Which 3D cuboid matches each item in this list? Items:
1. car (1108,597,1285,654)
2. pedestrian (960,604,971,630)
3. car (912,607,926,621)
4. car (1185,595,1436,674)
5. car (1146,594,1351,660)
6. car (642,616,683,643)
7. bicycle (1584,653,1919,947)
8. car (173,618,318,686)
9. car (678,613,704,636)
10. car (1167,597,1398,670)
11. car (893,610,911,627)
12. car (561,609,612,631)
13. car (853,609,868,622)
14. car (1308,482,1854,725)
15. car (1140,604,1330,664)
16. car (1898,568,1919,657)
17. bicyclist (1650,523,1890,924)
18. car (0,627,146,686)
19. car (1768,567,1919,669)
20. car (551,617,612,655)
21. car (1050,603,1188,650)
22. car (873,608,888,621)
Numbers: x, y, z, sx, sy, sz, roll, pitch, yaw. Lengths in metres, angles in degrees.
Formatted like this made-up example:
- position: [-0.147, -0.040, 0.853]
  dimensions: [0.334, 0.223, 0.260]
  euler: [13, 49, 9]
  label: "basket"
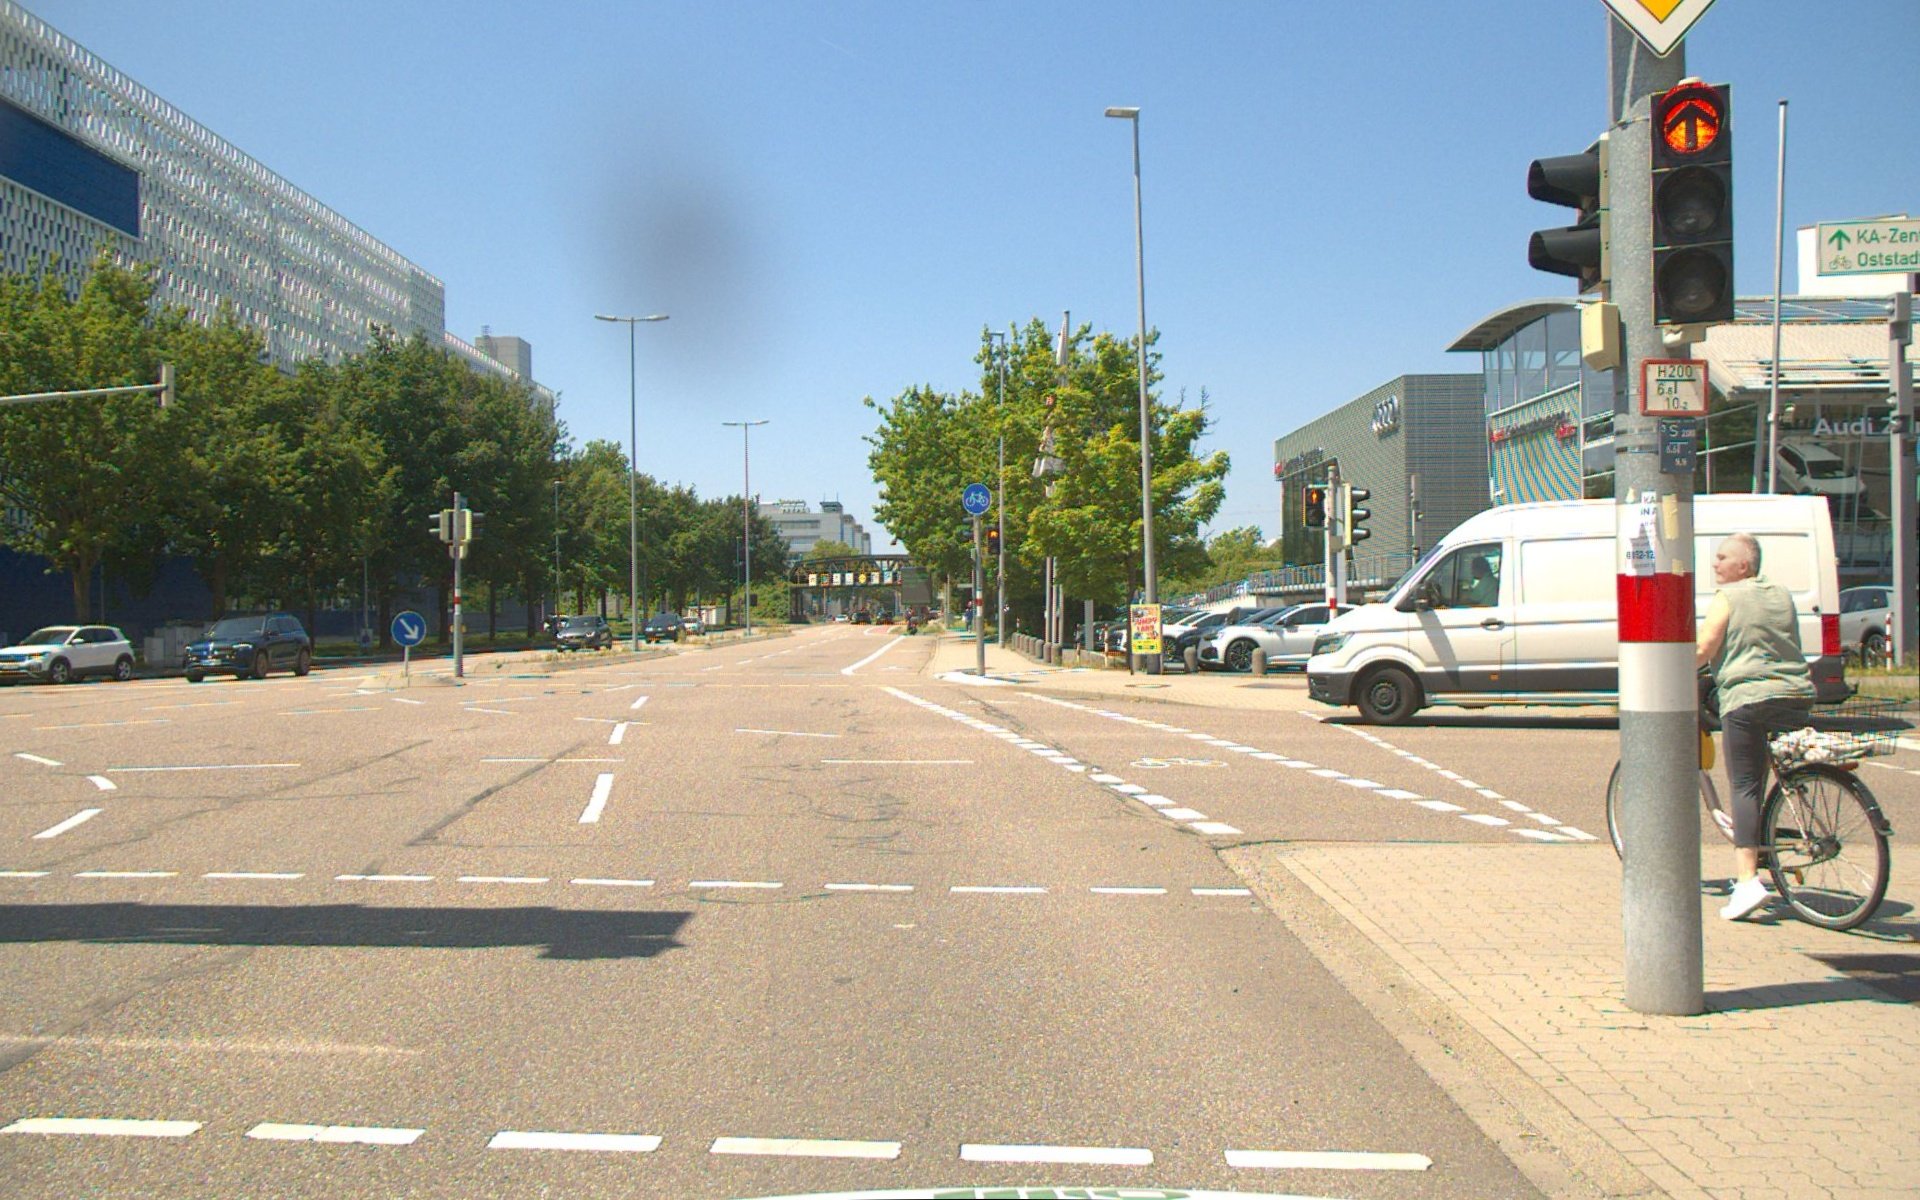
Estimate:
- position: [6.613, 0.706, 46.645]
  dimensions: [4.646, 1.482, 1.999]
  euler: [-1, 0, -3]
  label: "car"
- position: [0.328, 1.007, 99.126]
  dimensions: [0.654, 1.537, 0.736]
  euler: [-1, 0, -1]
  label: "pedestrian"
- position: [-5.436, 1.838, 220.609]
  dimensions: [1.736, 1.758, 3.999]
  euler: [-1, -1, -1]
  label: "car"
- position: [6.997, 0.675, 33.366]
  dimensions: [4.643, 1.482, 2.000]
  euler: [-1, 0, 1]
  label: "car"
- position: [6.924, 0.633, 40.035]
  dimensions: [4.643, 1.482, 2.000]
  euler: [-1, 0, 1]
  label: "car"
- position: [-16.277, 1.611, 90.647]
  dimensions: [1.650, 1.436, 3.664]
  euler: [-1, -1, -1]
  label: "car"
- position: [3.786, 0.867, 7.894]
  dimensions: [0.771, 1.147, 1.919]
  euler: [0, 0, -4]
  label: "bicycle"
- position: [-18.335, 1.295, 42.661]
  dimensions: [1.837, 1.626, 4.495]
  euler: [-1, -1, -1]
  label: "car"
- position: [-20.552, 1.821, 126.391]
  dimensions: [1.617, 1.682, 4.159]
  euler: [-1, 0, -5]
  label: "car"
- position: [6.950, 0.724, 35.978]
  dimensions: [4.643, 1.482, 2.000]
  euler: [-1, -1, 1]
  label: "car"
- position: [-3.671, 1.165, 105.297]
  dimensions: [1.114, 1.060, 2.308]
  euler: [-1, 0, -1]
  label: "car"
- position: [-33.552, 1.806, 148.593]
  dimensions: [3.931, 1.842, 2.001]
  euler: [1, 0, 17]
  label: "car"
- position: [-13.528, 2.139, 225.399]
  dimensions: [1.736, 1.758, 3.999]
  euler: [-1, -1, -1]
  label: "car"
- position: [7.047, 0.057, 19.344]
  dimensions: [5.660, 2.578, 2.104]
  euler: [0, -1, 17]
  label: "car"
- position: [7.257, 0.886, 43.932]
  dimensions: [4.646, 1.482, 1.999]
  euler: [-1, 0, -3]
  label: "car"
- position: [18.864, 0.226, 29.319]
  dimensions: [1.847, 1.668, 4.524]
  euler: [-1, 0, -1]
  label: "car"
- position: [3.771, 0.548, 7.753]
  dimensions: [0.719, 1.779, 0.753]
  euler: [0, 0, -5]
  label: "bicyclist"
- position: [-24.422, 1.533, 45.495]
  dimensions: [1.587, 1.483, 4.073]
  euler: [-1, -1, 8]
  label: "car"
- position: [16.471, 0.256, 29.424]
  dimensions: [1.953, 1.668, 4.440]
  euler: [-1, 0, -1]
  label: "car"
- position: [-15.650, 1.468, 68.528]
  dimensions: [1.697, 1.452, 3.705]
  euler: [-3, -1, -1]
  label: "car"
- position: [5.628, 0.924, 58.869]
  dimensions: [4.646, 1.482, 1.999]
  euler: [-2, 0, -3]
  label: "car"
- position: [-10.588, 1.946, 220.143]
  dimensions: [1.736, 1.758, 3.999]
  euler: [-1, -1, -1]
  label: "car"
